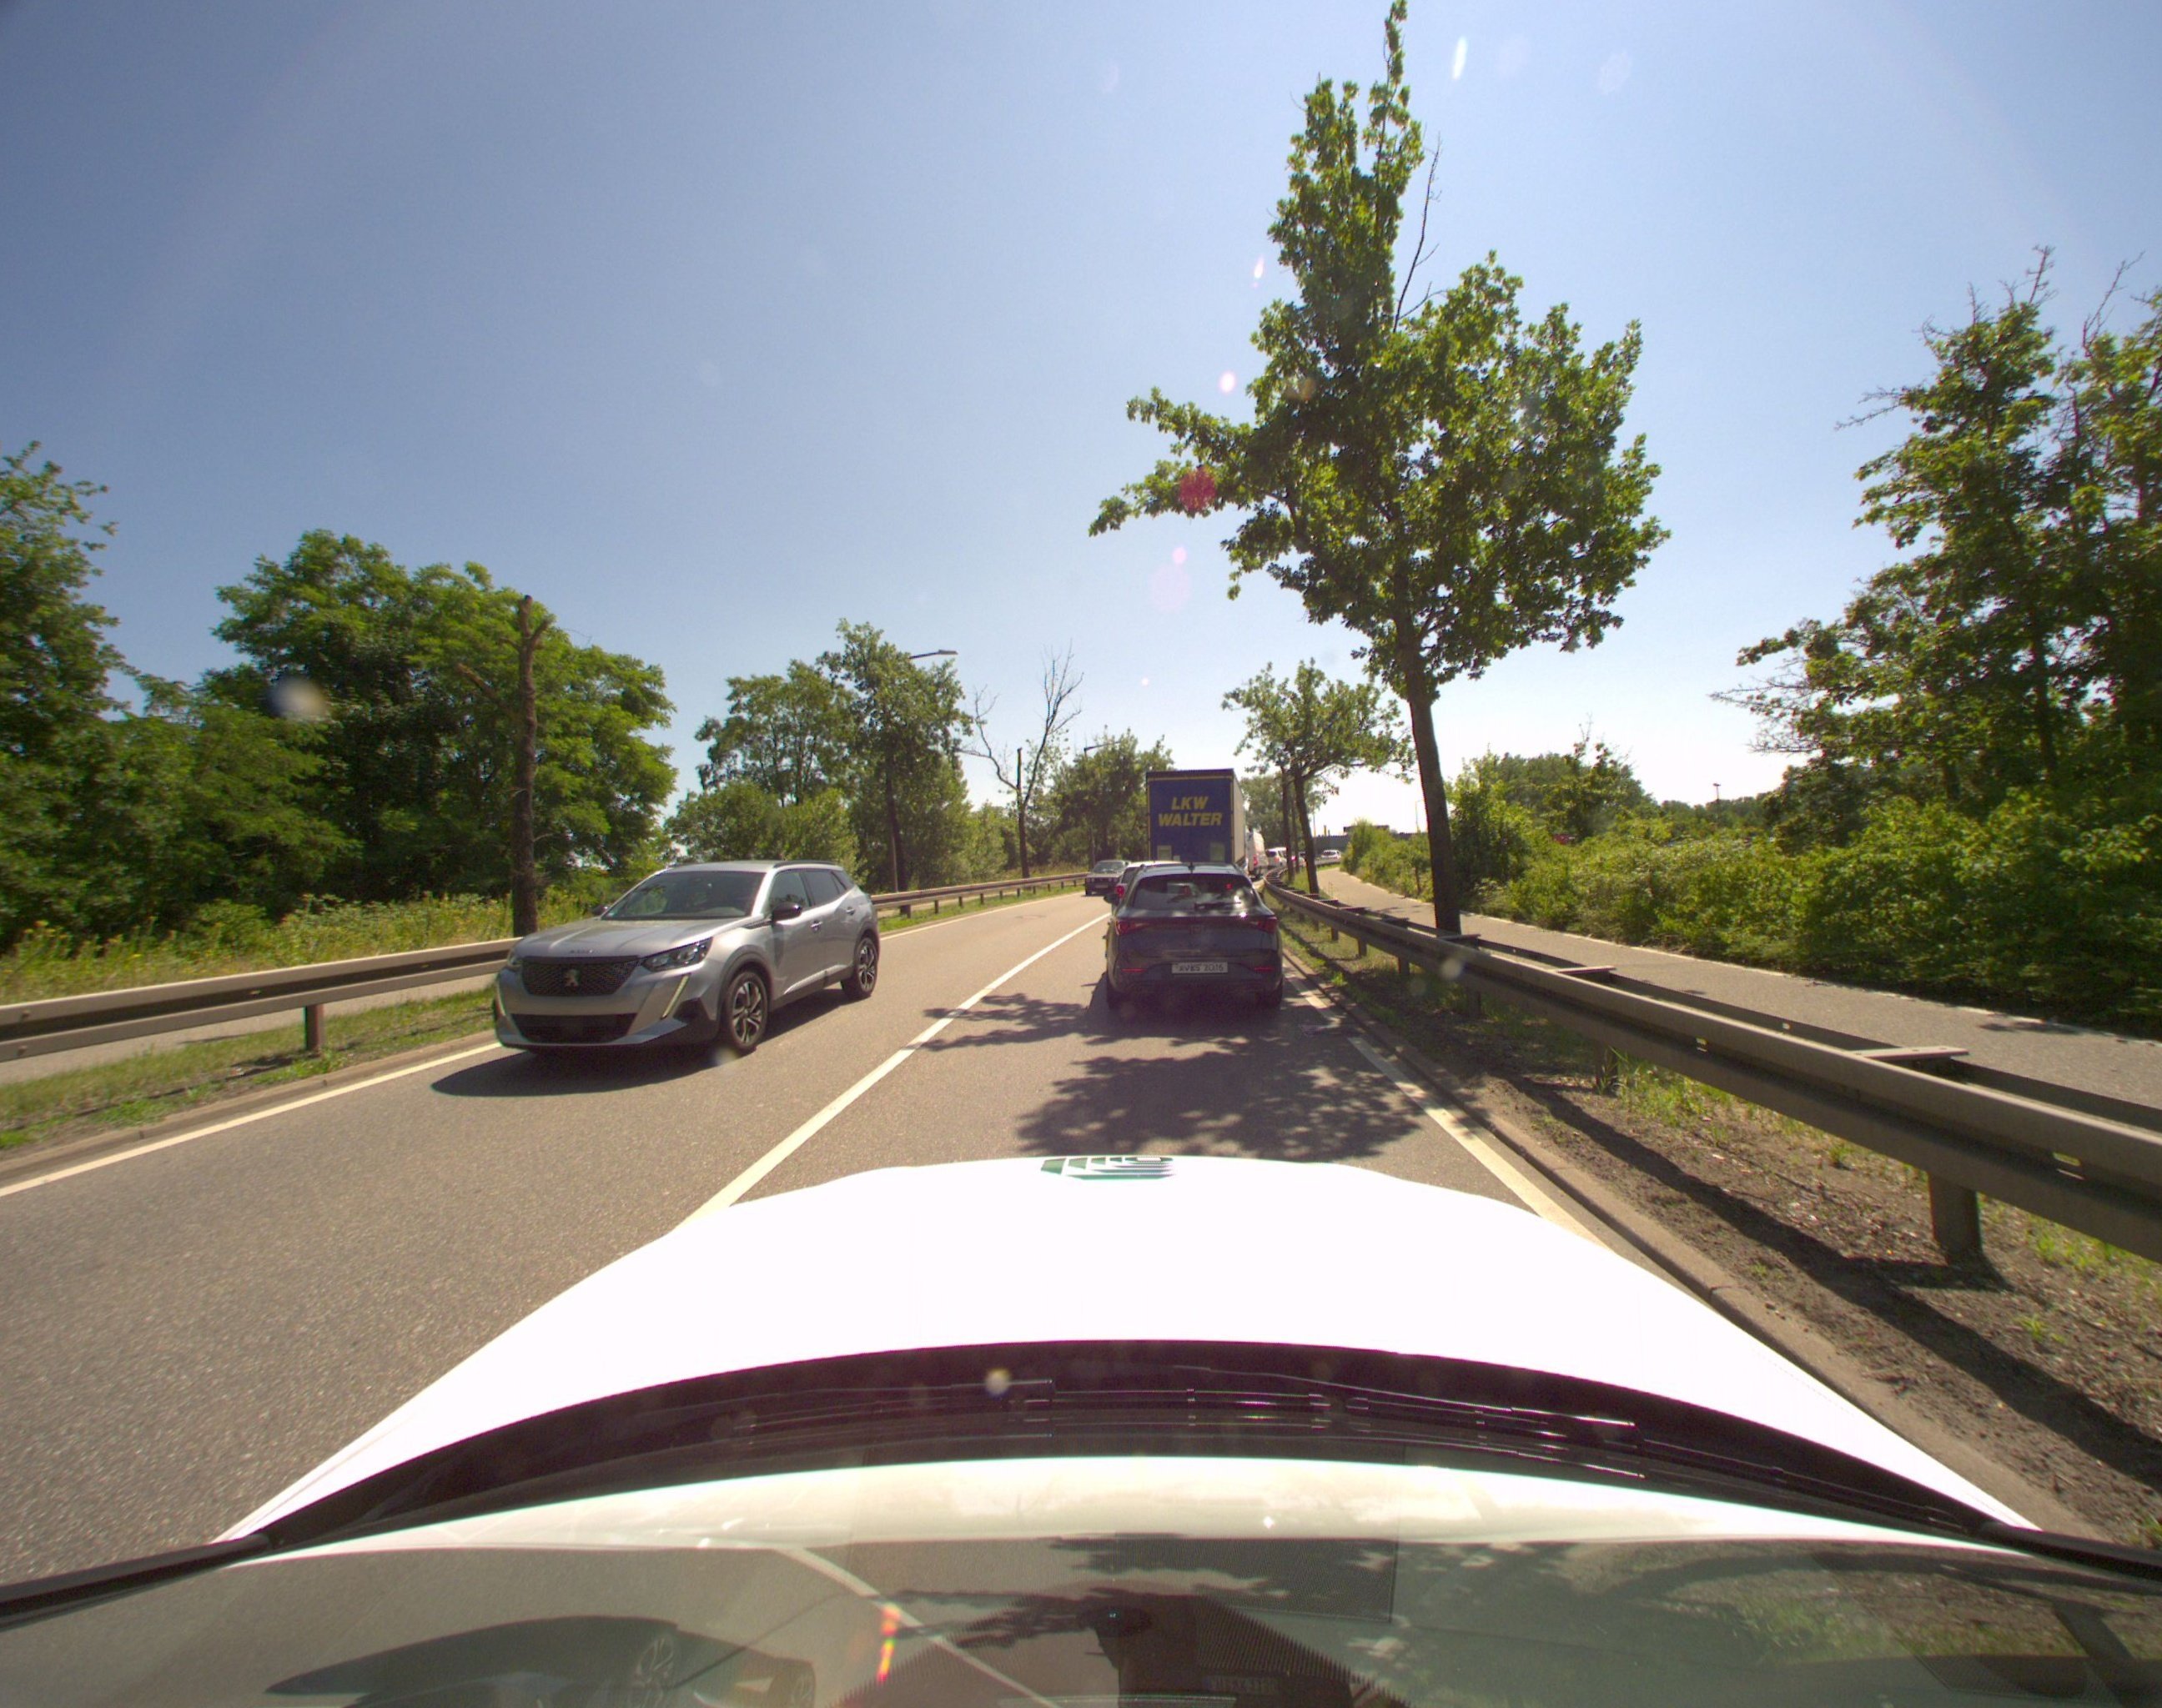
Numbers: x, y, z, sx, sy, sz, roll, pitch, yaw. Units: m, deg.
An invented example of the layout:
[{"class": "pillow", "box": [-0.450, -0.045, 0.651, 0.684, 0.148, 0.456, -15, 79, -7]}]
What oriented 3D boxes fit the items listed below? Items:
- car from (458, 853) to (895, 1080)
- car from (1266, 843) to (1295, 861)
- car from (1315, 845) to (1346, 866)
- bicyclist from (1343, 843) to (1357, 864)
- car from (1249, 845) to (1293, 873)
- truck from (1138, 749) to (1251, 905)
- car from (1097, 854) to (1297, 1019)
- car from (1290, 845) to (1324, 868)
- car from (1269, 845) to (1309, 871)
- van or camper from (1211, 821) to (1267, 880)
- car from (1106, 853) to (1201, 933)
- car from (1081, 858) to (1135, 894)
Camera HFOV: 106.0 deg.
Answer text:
[{"class": "car", "box": [-3.302, 0.793, 7.715, 1.741, 1.555, 4.133, -1, 0, 6]}, {"class": "car", "box": [18.199, -0.181, 74.129, 1.733, 1.555, 4.151, -1, 0, 26]}, {"class": "car", "box": [22.873, 0.126, 74.448, 1.975, 1.768, 4.782, -1, 0, 25]}, {"class": "bicyclist", "box": [19.050, -0.034, 57.646, 0.853, 1.523, 0.985, -1, -1, 22]}, {"class": "car", "box": [12.400, 0.297, 53.044, 1.976, 1.712, 4.645, -1, 0, 23]}, {"class": "truck", "box": [4.970, -0.742, 31.807, 2.930, 4.449, 16.855, -1, 0, 13]}, {"class": "car", "box": [1.113, 0.742, 9.122, 1.737, 1.432, 3.883, -1, 0, 3]}, {"class": "car", "box": [18.395, 0.194, 66.070, 1.976, 1.717, 4.896, -1, 0, 24]}, {"class": "car", "box": [15.139, 0.293, 59.109, 1.976, 1.808, 4.872, -1, 0, 24]}, {"class": "van or camper", "box": [8.879, -0.161, 45.174, 2.447, 2.998, 6.112, -1, 0, 16]}, {"class": "car", "box": [1.525, 0.757, 17.569, 1.801, 1.508, 4.004, -1, 0, 4]}, {"class": "car", "box": [1.158, 0.883, 33.473, 1.546, 1.372, 3.901, -1, 0, 12]}]
